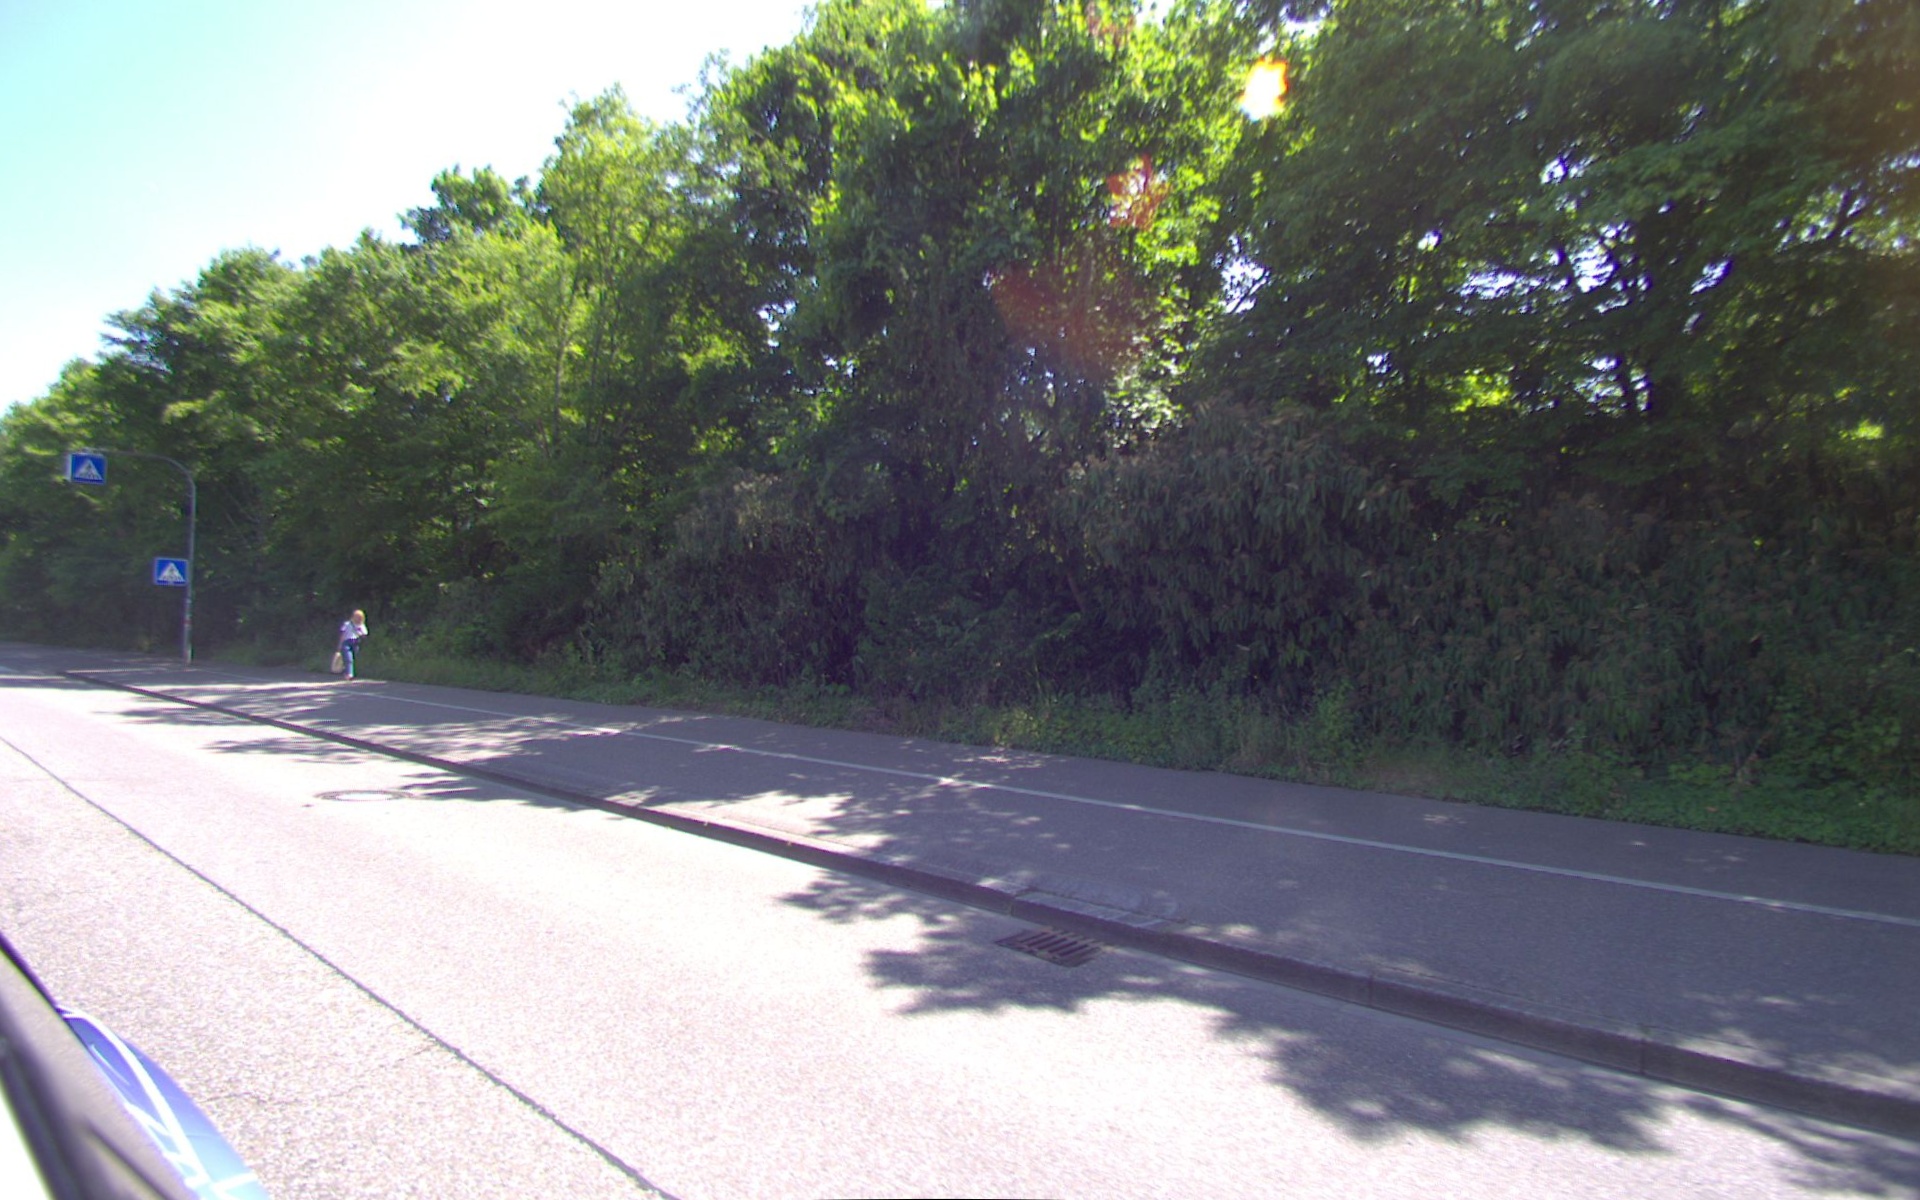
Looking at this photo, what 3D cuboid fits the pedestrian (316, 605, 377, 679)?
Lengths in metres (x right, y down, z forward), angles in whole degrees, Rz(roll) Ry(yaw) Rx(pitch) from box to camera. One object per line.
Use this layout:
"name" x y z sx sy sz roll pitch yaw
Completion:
"pedestrian" -13.855 0.938 22.850 0.885 1.625 0.923 0 -1 39
